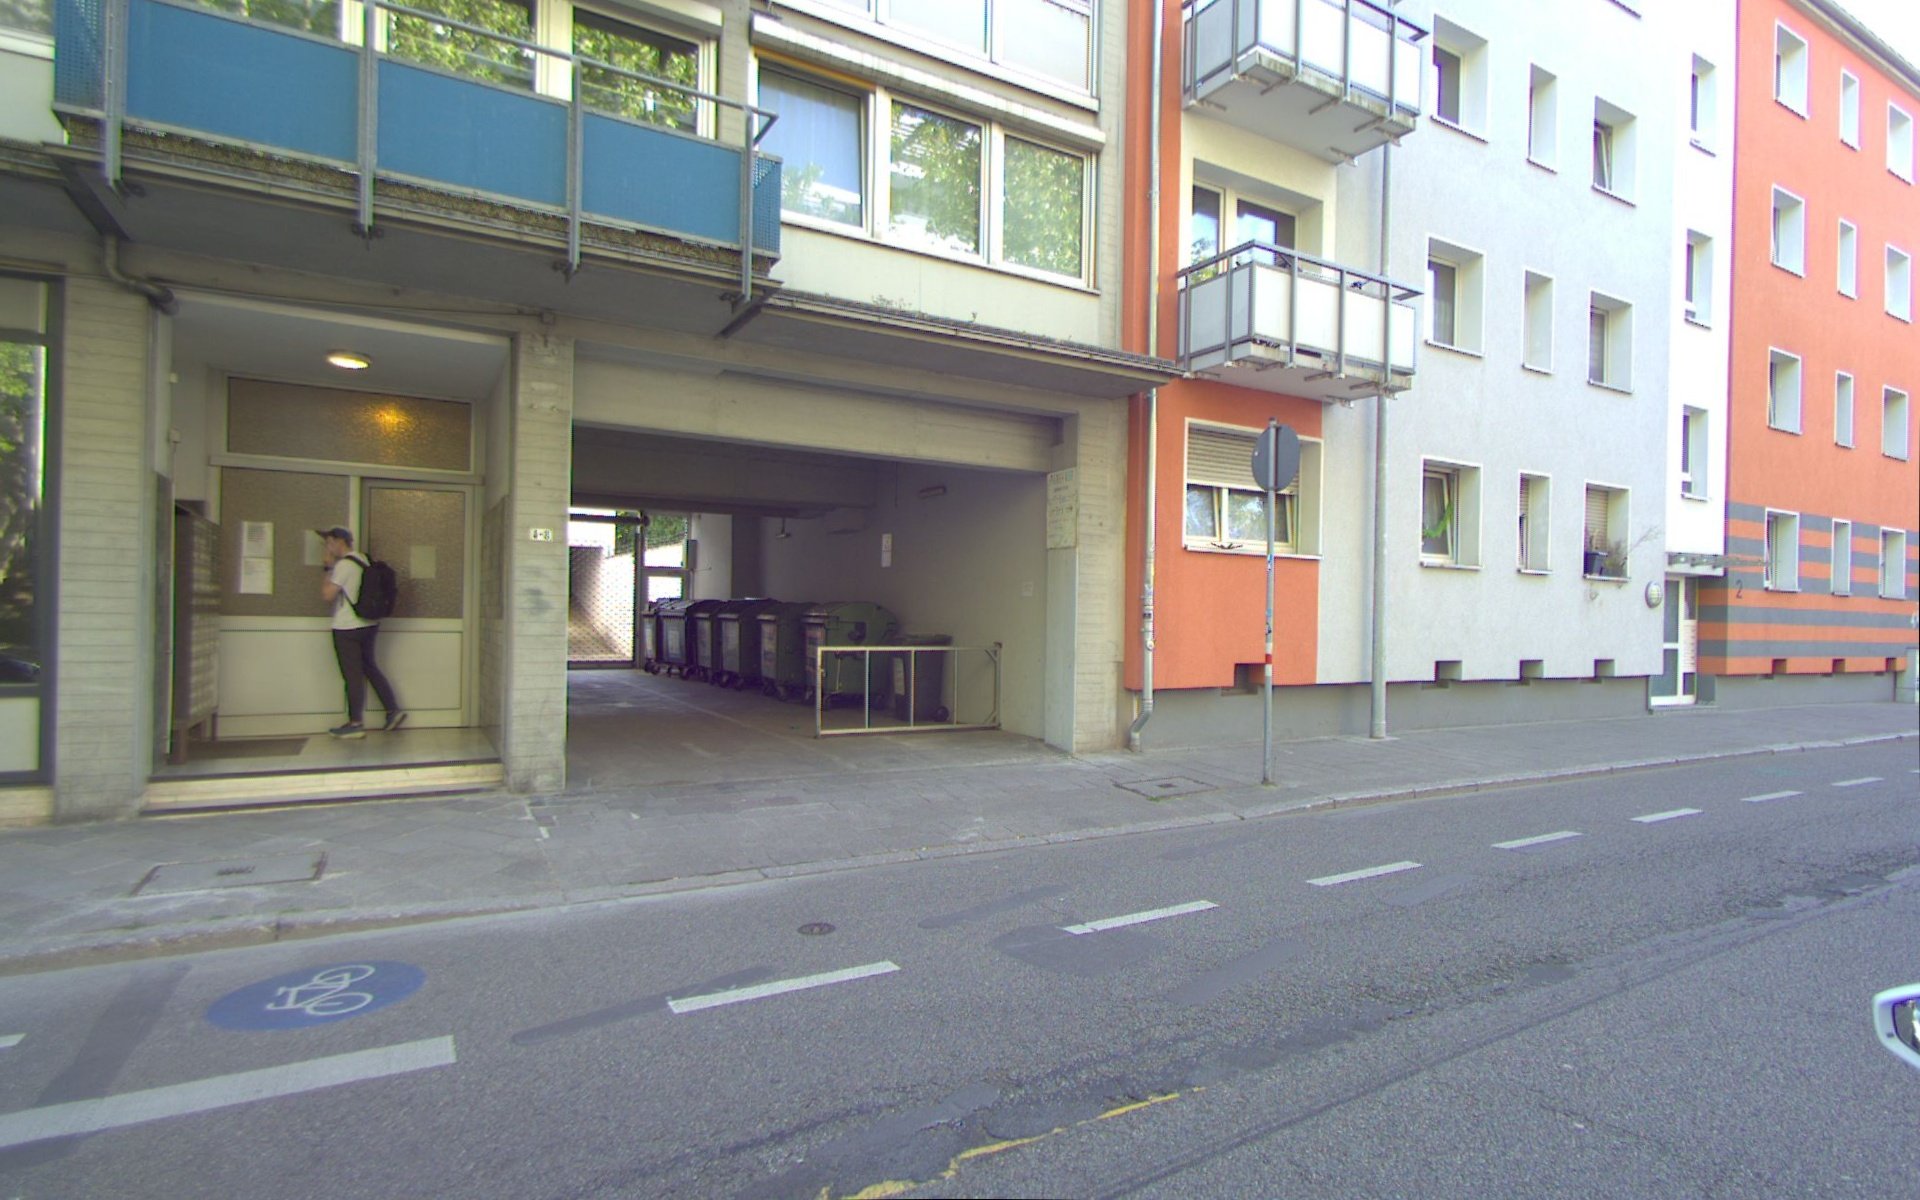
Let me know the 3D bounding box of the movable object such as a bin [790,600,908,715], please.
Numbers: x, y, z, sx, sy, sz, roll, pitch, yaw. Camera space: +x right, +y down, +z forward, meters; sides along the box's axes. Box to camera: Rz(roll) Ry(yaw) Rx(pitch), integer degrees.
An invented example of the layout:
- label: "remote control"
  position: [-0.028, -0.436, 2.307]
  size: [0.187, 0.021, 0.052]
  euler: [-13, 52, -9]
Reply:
- label: "movable object such as a bin"
  position: [-1.544, 0.756, 13.807]
  size: [1.159, 1.467, 1.319]
  euler: [2, 0, -30]

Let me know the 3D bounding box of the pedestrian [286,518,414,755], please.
- label: "pedestrian"
  position: [-5.187, 0.299, 8.547]
  size: [0.574, 1.904, 0.782]
  euler: [2, 0, 44]

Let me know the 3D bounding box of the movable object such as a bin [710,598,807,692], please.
- label: "movable object such as a bin"
  position: [-3.350, 0.716, 16.624]
  size: [1.186, 1.467, 1.319]
  euler: [2, 0, -30]

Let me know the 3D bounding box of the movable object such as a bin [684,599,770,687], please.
- label: "movable object such as a bin"
  position: [-4.121, 0.738, 17.715]
  size: [1.186, 1.467, 1.114]
  euler: [2, 0, -30]

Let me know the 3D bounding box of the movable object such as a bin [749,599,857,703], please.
- label: "movable object such as a bin"
  position: [-2.384, 0.738, 15.140]
  size: [1.186, 1.467, 1.319]
  euler: [2, 0, -30]

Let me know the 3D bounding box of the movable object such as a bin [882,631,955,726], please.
- label: "movable object such as a bin"
  position: [-0.516, 0.955, 12.415]
  size: [0.745, 1.115, 0.463]
  euler: [2, 0, -30]

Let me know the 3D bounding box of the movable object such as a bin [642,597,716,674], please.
- label: "movable object such as a bin"
  position: [-5.596, 0.705, 19.987]
  size: [1.186, 1.467, 1.027]
  euler: [2, 0, -30]

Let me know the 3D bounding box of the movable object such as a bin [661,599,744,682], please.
- label: "movable object such as a bin"
  position: [-4.820, 0.740, 18.758]
  size: [1.186, 1.467, 1.222]
  euler: [2, 0, -30]
